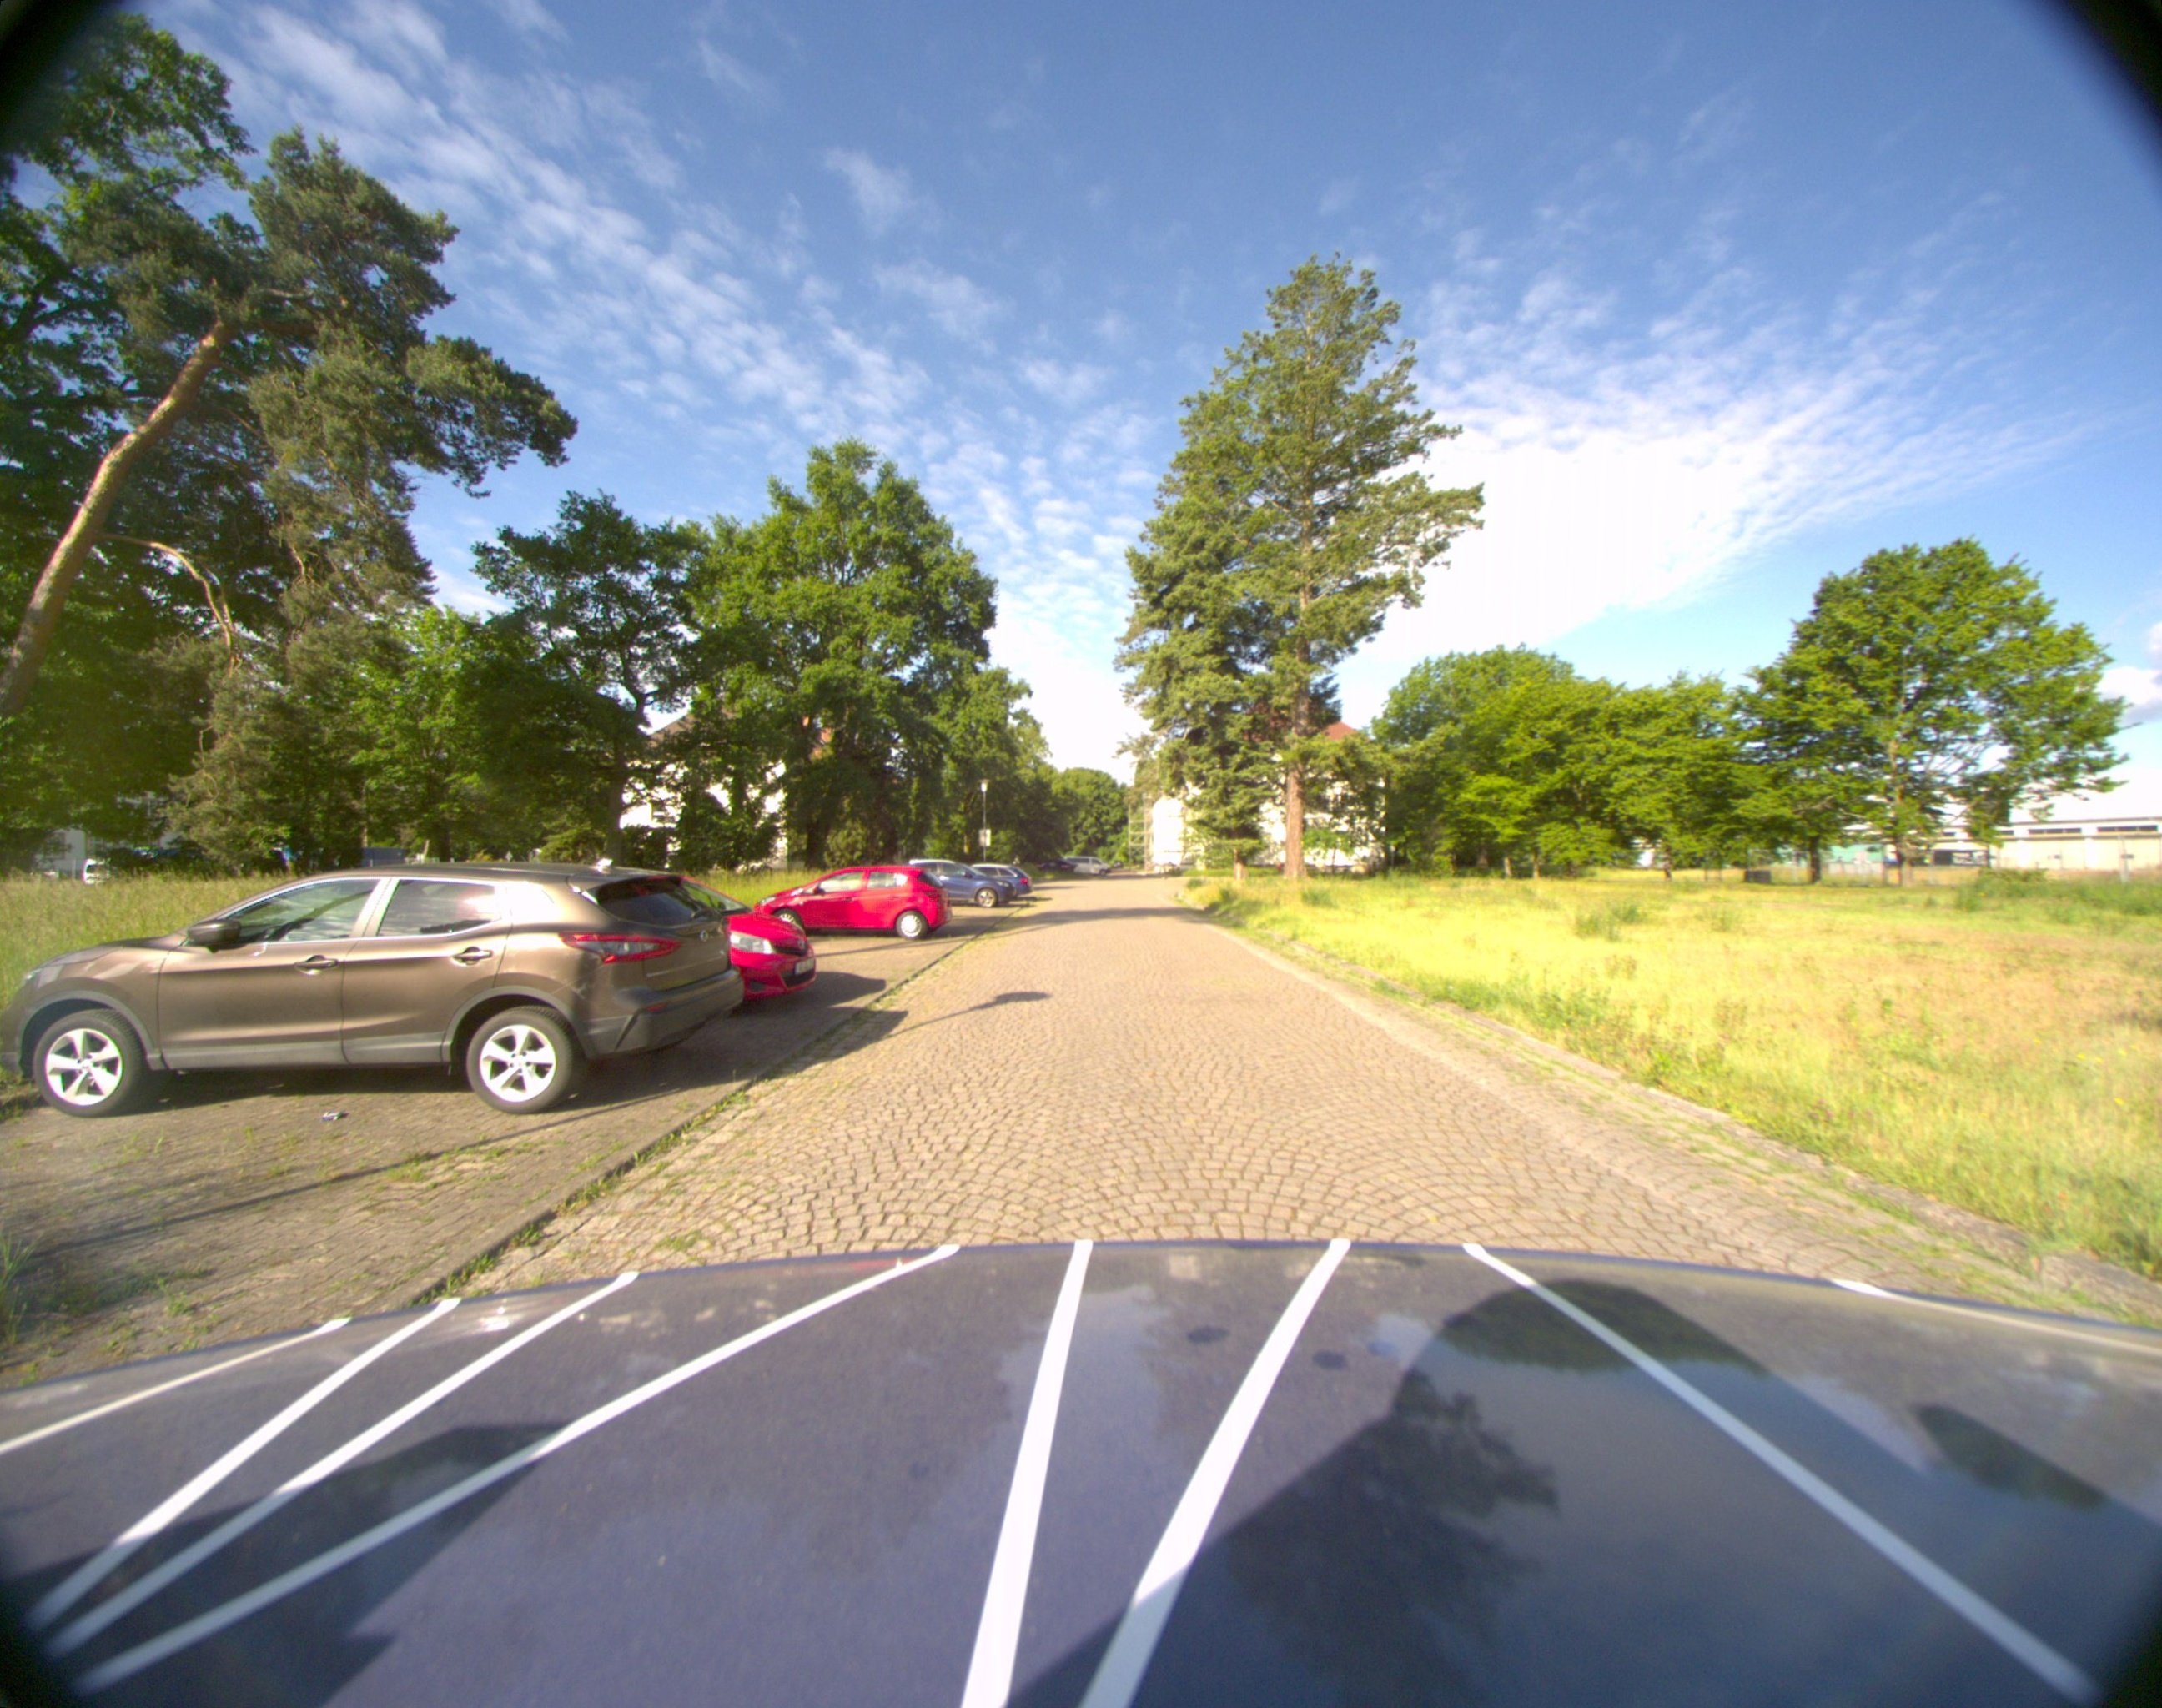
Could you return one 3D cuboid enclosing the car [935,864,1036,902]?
[{"bbox_3d":[-3.802,1.161,30.818,3.809,1.457,1.747,-1,0,2],"label":"car"}]

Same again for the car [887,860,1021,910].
[{"bbox_3d":[-4.277,1.025,26.047,4.273,1.589,1.651,1,0,1],"label":"car"}]

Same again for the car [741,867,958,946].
[{"bbox_3d":[-4.690,1.046,15.764,3.997,1.486,1.540,-1,0,1],"label":"car"}]

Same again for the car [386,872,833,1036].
[{"bbox_3d":[-4.921,0.995,8.303,3.834,1.529,1.703,1,0,2],"label":"car"}]

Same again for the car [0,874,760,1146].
[{"bbox_3d":[-4.759,0.964,5.476,4.117,1.601,1.786,0,0,0],"label":"car"}]

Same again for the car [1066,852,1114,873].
[{"bbox_3d":[0.895,0.905,79.506,4.993,2.123,2.165,0,0,-1],"label":"car"}]
